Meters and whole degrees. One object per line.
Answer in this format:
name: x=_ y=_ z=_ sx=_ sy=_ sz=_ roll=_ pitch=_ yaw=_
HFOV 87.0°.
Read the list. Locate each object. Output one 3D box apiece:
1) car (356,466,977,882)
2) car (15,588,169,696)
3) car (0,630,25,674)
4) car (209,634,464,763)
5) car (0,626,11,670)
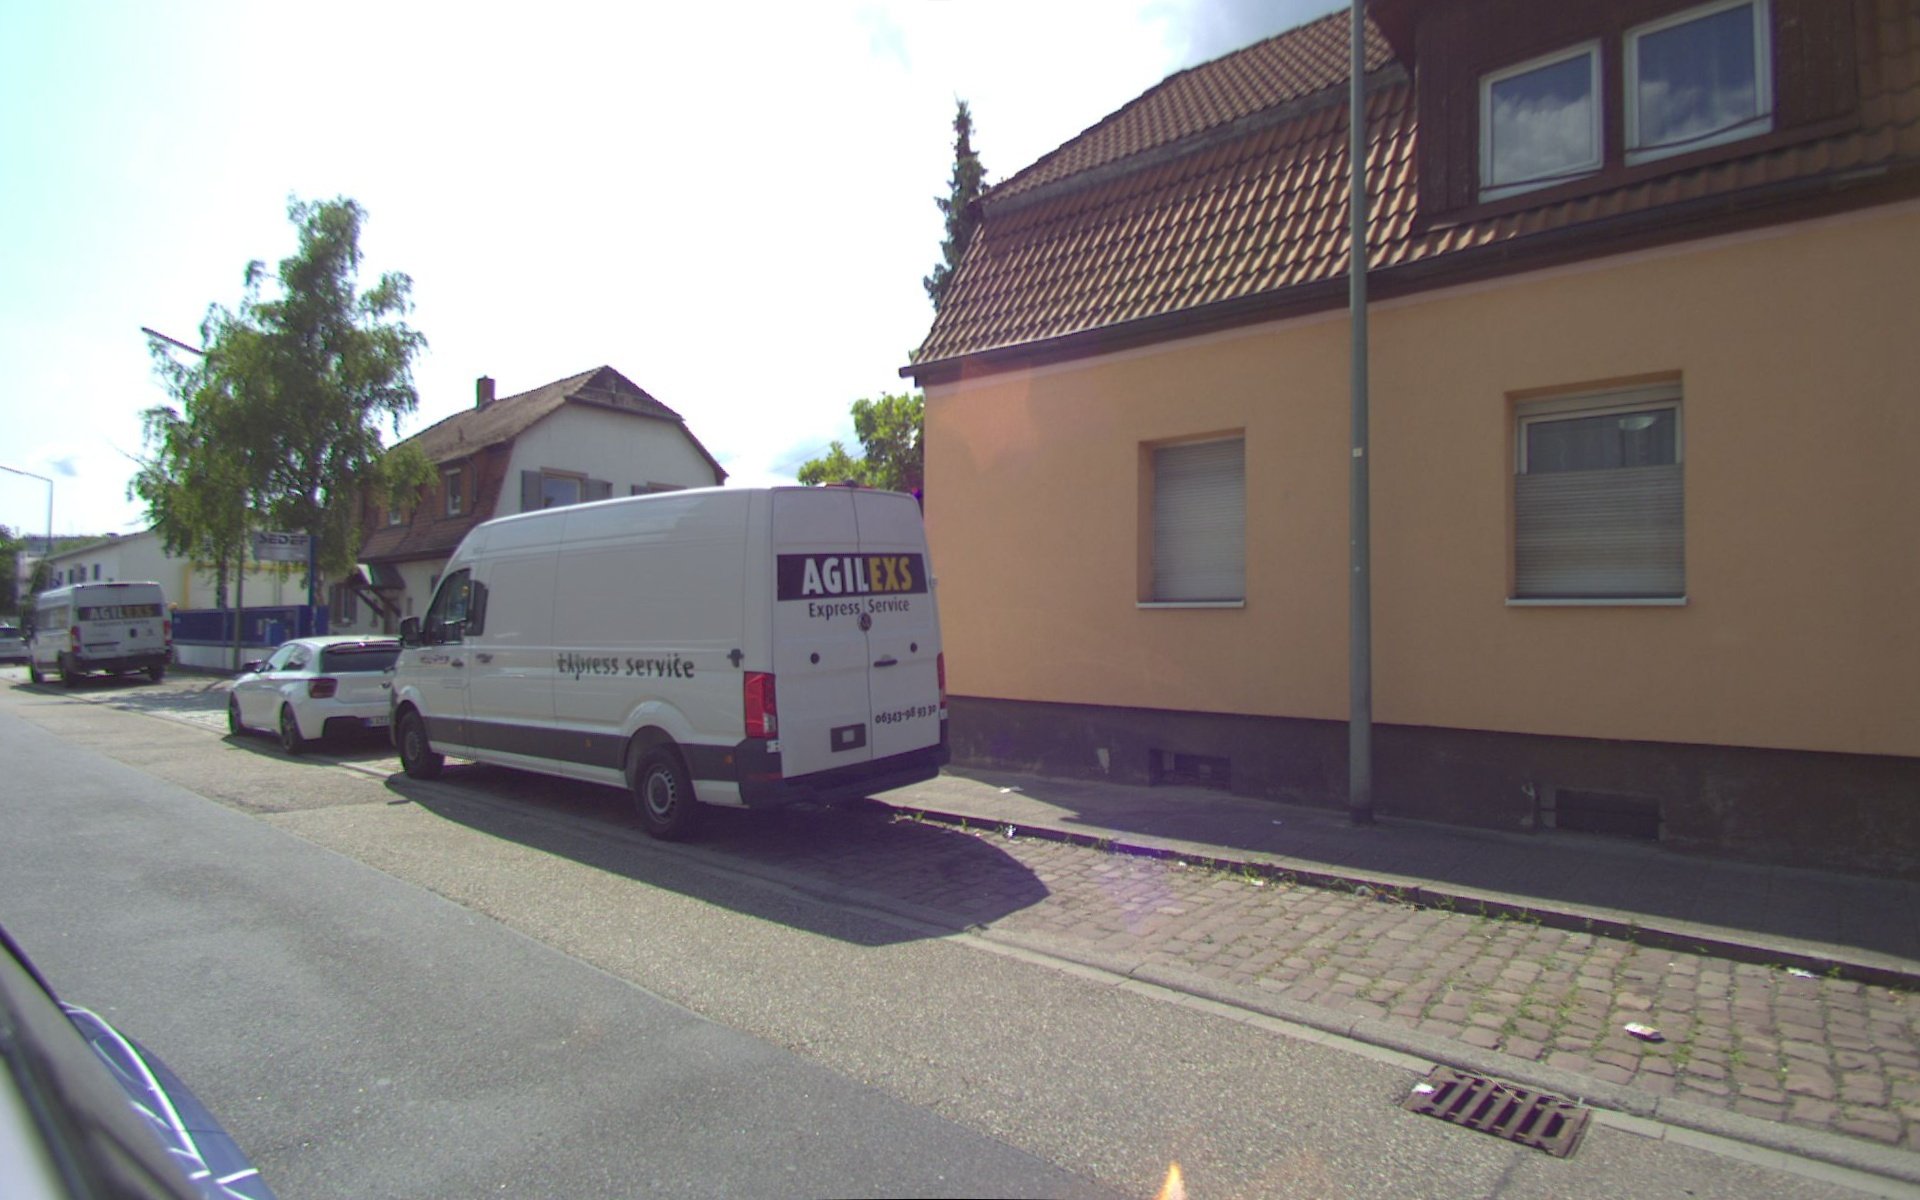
car: x=-3.121 y=0.511 z=9.261 sx=6.834 sy=2.581 sz=2.006 roll=-1 pitch=-1 yaw=40
car: x=-23.347 y=1.052 z=27.112 sx=6.650 sy=2.577 sz=2.010 roll=-1 pitch=-1 yaw=39
car: x=-36.786 y=1.993 z=38.440 sx=3.009 sy=1.586 sz=1.592 roll=-2 pitch=0 yaw=43
car: x=-8.582 y=1.203 z=13.761 sx=4.501 sy=1.408 sz=1.777 roll=-1 pitch=-1 yaw=42
car: x=-40.513 y=1.980 z=41.552 sx=4.748 sy=1.732 sz=1.772 roll=-1 pitch=-1 yaw=41
